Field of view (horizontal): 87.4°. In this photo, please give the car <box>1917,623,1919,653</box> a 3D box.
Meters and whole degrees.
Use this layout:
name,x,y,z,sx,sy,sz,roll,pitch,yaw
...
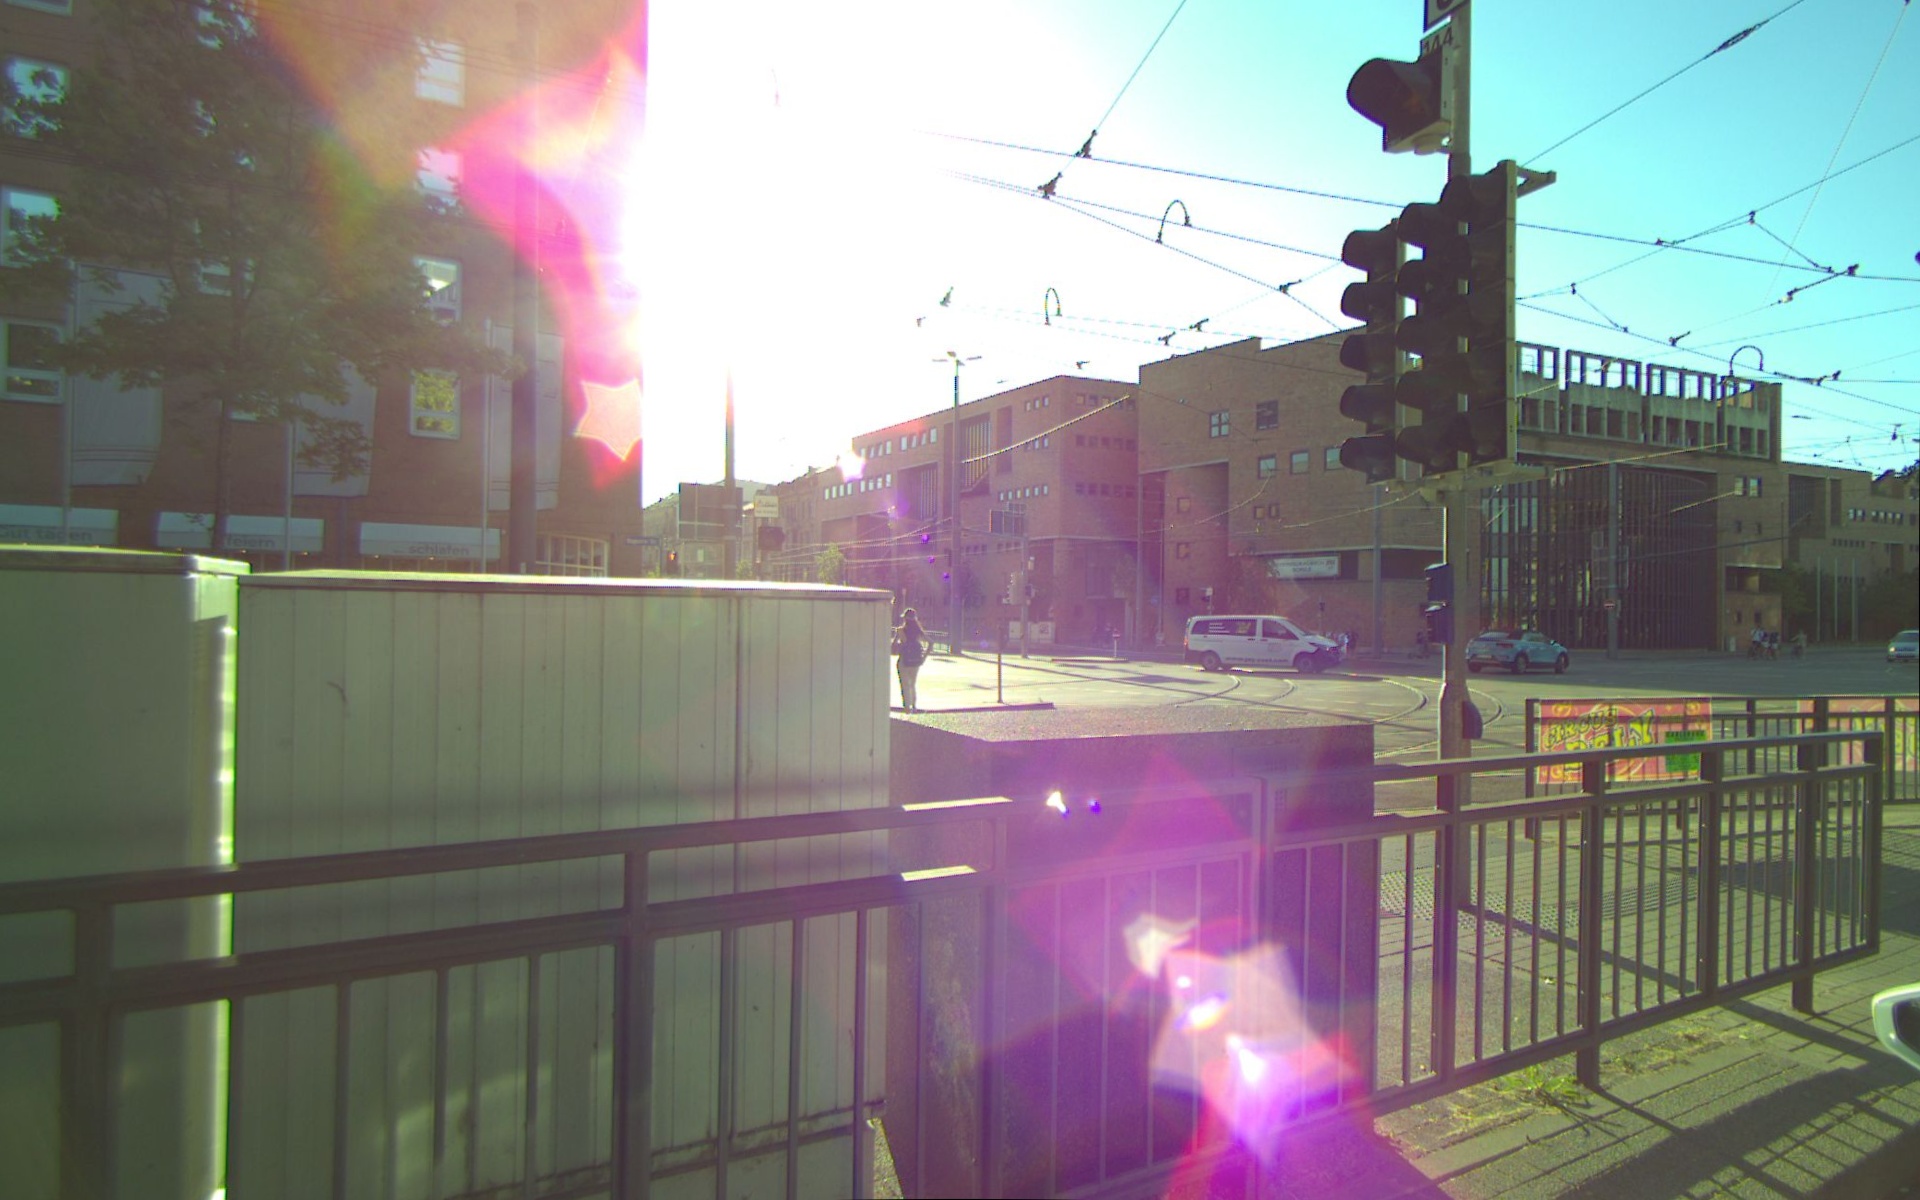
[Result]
name,x,y,z,sx,sy,sz,roll,pitch,yaw
car,55.259,2.104,55.897,3.954,1.661,1.983,1,-2,-31

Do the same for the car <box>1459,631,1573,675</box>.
name,x,y,z,sx,sy,sz,roll,pitch,yaw
car,19.309,1.802,34.863,4.054,1.445,1.620,1,-2,-30

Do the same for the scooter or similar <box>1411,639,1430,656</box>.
name,x,y,z,sx,sy,sz,roll,pitch,yaw
scooter or similar,25.385,2.628,55.378,0.931,0.911,0.176,0,-1,14

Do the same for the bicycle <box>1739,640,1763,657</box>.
name,x,y,z,sx,sy,sz,roll,pitch,yaw
bicycle,44.426,2.711,56.387,1.568,0.976,0.539,1,-1,-30

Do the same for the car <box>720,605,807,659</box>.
name,x,y,z,sx,sy,sz,roll,pitch,yaw
car,-9.451,1.503,47.962,1.982,2.419,5.156,1,-2,-38

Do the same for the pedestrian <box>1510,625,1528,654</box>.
name,x,y,z,sx,sy,sz,roll,pitch,yaw
pedestrian,32.206,2.284,57.871,0.608,1.647,0.611,1,-1,-15

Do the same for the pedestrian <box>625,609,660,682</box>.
name,x,y,z,sx,sy,sz,roll,pitch,yaw
pedestrian,-8.250,1.170,26.078,0.713,1.837,0.904,1,-1,-28

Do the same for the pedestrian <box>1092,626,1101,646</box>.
name,x,y,z,sx,sy,sz,roll,pitch,yaw
pedestrian,10.491,2.772,76.955,0.463,1.482,0.505,1,-1,-37

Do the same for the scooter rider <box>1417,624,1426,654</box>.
name,x,y,z,sx,sy,sz,roll,pitch,yaw
scooter rider,25.431,2.151,55.374,0.429,1.669,0.229,0,-1,15

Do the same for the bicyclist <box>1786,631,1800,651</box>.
name,x,y,z,sx,sy,sz,roll,pitch,yaw
bicyclist,49.419,2.433,59.598,0.574,1.194,0.503,1,-1,-30

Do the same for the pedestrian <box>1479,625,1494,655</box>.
name,x,y,z,sx,sy,sz,roll,pitch,yaw
pedestrian,30.850,2.332,58.860,0.542,1.706,0.569,1,-1,-29

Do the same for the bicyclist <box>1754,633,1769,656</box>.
name,x,y,z,sx,sy,sz,roll,pitch,yaw
bicyclist,46.684,2.615,58.519,0.574,1.321,0.503,1,-1,-30

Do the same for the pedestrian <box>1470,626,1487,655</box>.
name,x,y,z,sx,sy,sz,roll,pitch,yaw
pedestrian,30.002,2.342,58.085,0.612,1.706,0.648,1,-1,-18

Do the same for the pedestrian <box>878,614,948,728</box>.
name,x,y,z,sx,sy,sz,roll,pitch,yaw
pedestrian,-0.717,1.047,15.200,0.709,1.669,0.953,1,-1,-30

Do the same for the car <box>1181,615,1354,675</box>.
name,x,y,z,sx,sy,sz,roll,pitch,yaw
car,10.257,1.461,33.658,5.240,1.873,1.962,0,-2,34

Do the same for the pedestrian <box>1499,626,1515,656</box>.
name,x,y,z,sx,sy,sz,roll,pitch,yaw
pedestrian,30.839,2.322,56.641,0.541,1.706,0.591,1,-1,-13

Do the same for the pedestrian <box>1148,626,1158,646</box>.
name,x,y,z,sx,sy,sz,roll,pitch,yaw
pedestrian,15.132,2.815,78.642,0.586,1.482,0.527,1,-1,-42

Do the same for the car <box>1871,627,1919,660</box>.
name,x,y,z,sx,sy,sz,roll,pitch,yaw
car,48.989,2.217,51.783,3.954,1.661,1.983,1,-2,-31

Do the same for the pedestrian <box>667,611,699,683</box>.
name,x,y,z,sx,sy,sz,roll,pitch,yaw
pedestrian,-7.307,1.219,26.471,0.647,1.864,0.835,1,-1,-28

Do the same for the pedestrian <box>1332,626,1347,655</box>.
name,x,y,z,sx,sy,sz,roll,pitch,yaw
pedestrian,21.773,2.317,57.597,0.543,1.670,0.596,1,-1,-30

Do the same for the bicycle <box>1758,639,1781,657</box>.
name,x,y,z,sx,sy,sz,roll,pitch,yaw
bicycle,45.029,2.672,55.851,1.557,0.976,0.470,1,-1,-30

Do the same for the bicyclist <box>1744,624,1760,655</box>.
name,x,y,z,sx,sy,sz,roll,pitch,yaw
bicyclist,44.448,2.217,56.360,0.574,1.754,0.534,1,-1,-30

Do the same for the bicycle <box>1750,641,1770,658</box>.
name,x,y,z,sx,sy,sz,roll,pitch,yaw
bicycle,46.616,2.886,58.511,1.304,0.976,0.465,1,-1,-30

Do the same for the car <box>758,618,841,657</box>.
name,x,y,z,sx,sy,sz,roll,pitch,yaw
car,-8.336,1.893,51.708,1.982,1.928,5.156,1,-2,-38

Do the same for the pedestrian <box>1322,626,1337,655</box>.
name,x,y,z,sx,sy,sz,roll,pitch,yaw
pedestrian,21.492,2.363,58.499,0.582,1.635,0.593,1,-1,-31

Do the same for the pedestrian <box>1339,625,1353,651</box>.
name,x,y,z,sx,sy,sz,roll,pitch,yaw
pedestrian,22.566,2.217,58.670,0.611,1.473,0.562,2,-2,-45

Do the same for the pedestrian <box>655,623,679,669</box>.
name,x,y,z,sx,sy,sz,roll,pitch,yaw
pedestrian,-10.655,1.658,36.539,0.658,1.669,0.638,1,-1,-34

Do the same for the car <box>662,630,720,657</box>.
name,x,y,z,sx,sy,sz,roll,pitch,yaw
car,-14.472,2.321,53.939,1.729,1.372,3.960,1,-2,-36

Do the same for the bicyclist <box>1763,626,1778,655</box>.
name,x,y,z,sx,sy,sz,roll,pitch,yaw
bicyclist,45.075,2.259,55.847,0.574,1.624,0.456,1,-1,-30

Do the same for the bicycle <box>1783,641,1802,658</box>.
name,x,y,z,sx,sy,sz,roll,pitch,yaw
bicycle,49.346,2.922,59.542,1.332,0.976,0.449,1,-1,-30

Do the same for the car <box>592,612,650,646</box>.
name,x,y,z,sx,sy,sz,roll,pitch,yaw
car,-21.926,1.859,64.842,1.982,2.122,5.156,1,-2,-38

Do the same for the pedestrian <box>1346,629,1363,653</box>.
name,x,y,z,sx,sy,sz,roll,pitch,yaw
pedestrian,22.262,2.327,56.707,0.670,1.357,0.603,1,-1,-14
